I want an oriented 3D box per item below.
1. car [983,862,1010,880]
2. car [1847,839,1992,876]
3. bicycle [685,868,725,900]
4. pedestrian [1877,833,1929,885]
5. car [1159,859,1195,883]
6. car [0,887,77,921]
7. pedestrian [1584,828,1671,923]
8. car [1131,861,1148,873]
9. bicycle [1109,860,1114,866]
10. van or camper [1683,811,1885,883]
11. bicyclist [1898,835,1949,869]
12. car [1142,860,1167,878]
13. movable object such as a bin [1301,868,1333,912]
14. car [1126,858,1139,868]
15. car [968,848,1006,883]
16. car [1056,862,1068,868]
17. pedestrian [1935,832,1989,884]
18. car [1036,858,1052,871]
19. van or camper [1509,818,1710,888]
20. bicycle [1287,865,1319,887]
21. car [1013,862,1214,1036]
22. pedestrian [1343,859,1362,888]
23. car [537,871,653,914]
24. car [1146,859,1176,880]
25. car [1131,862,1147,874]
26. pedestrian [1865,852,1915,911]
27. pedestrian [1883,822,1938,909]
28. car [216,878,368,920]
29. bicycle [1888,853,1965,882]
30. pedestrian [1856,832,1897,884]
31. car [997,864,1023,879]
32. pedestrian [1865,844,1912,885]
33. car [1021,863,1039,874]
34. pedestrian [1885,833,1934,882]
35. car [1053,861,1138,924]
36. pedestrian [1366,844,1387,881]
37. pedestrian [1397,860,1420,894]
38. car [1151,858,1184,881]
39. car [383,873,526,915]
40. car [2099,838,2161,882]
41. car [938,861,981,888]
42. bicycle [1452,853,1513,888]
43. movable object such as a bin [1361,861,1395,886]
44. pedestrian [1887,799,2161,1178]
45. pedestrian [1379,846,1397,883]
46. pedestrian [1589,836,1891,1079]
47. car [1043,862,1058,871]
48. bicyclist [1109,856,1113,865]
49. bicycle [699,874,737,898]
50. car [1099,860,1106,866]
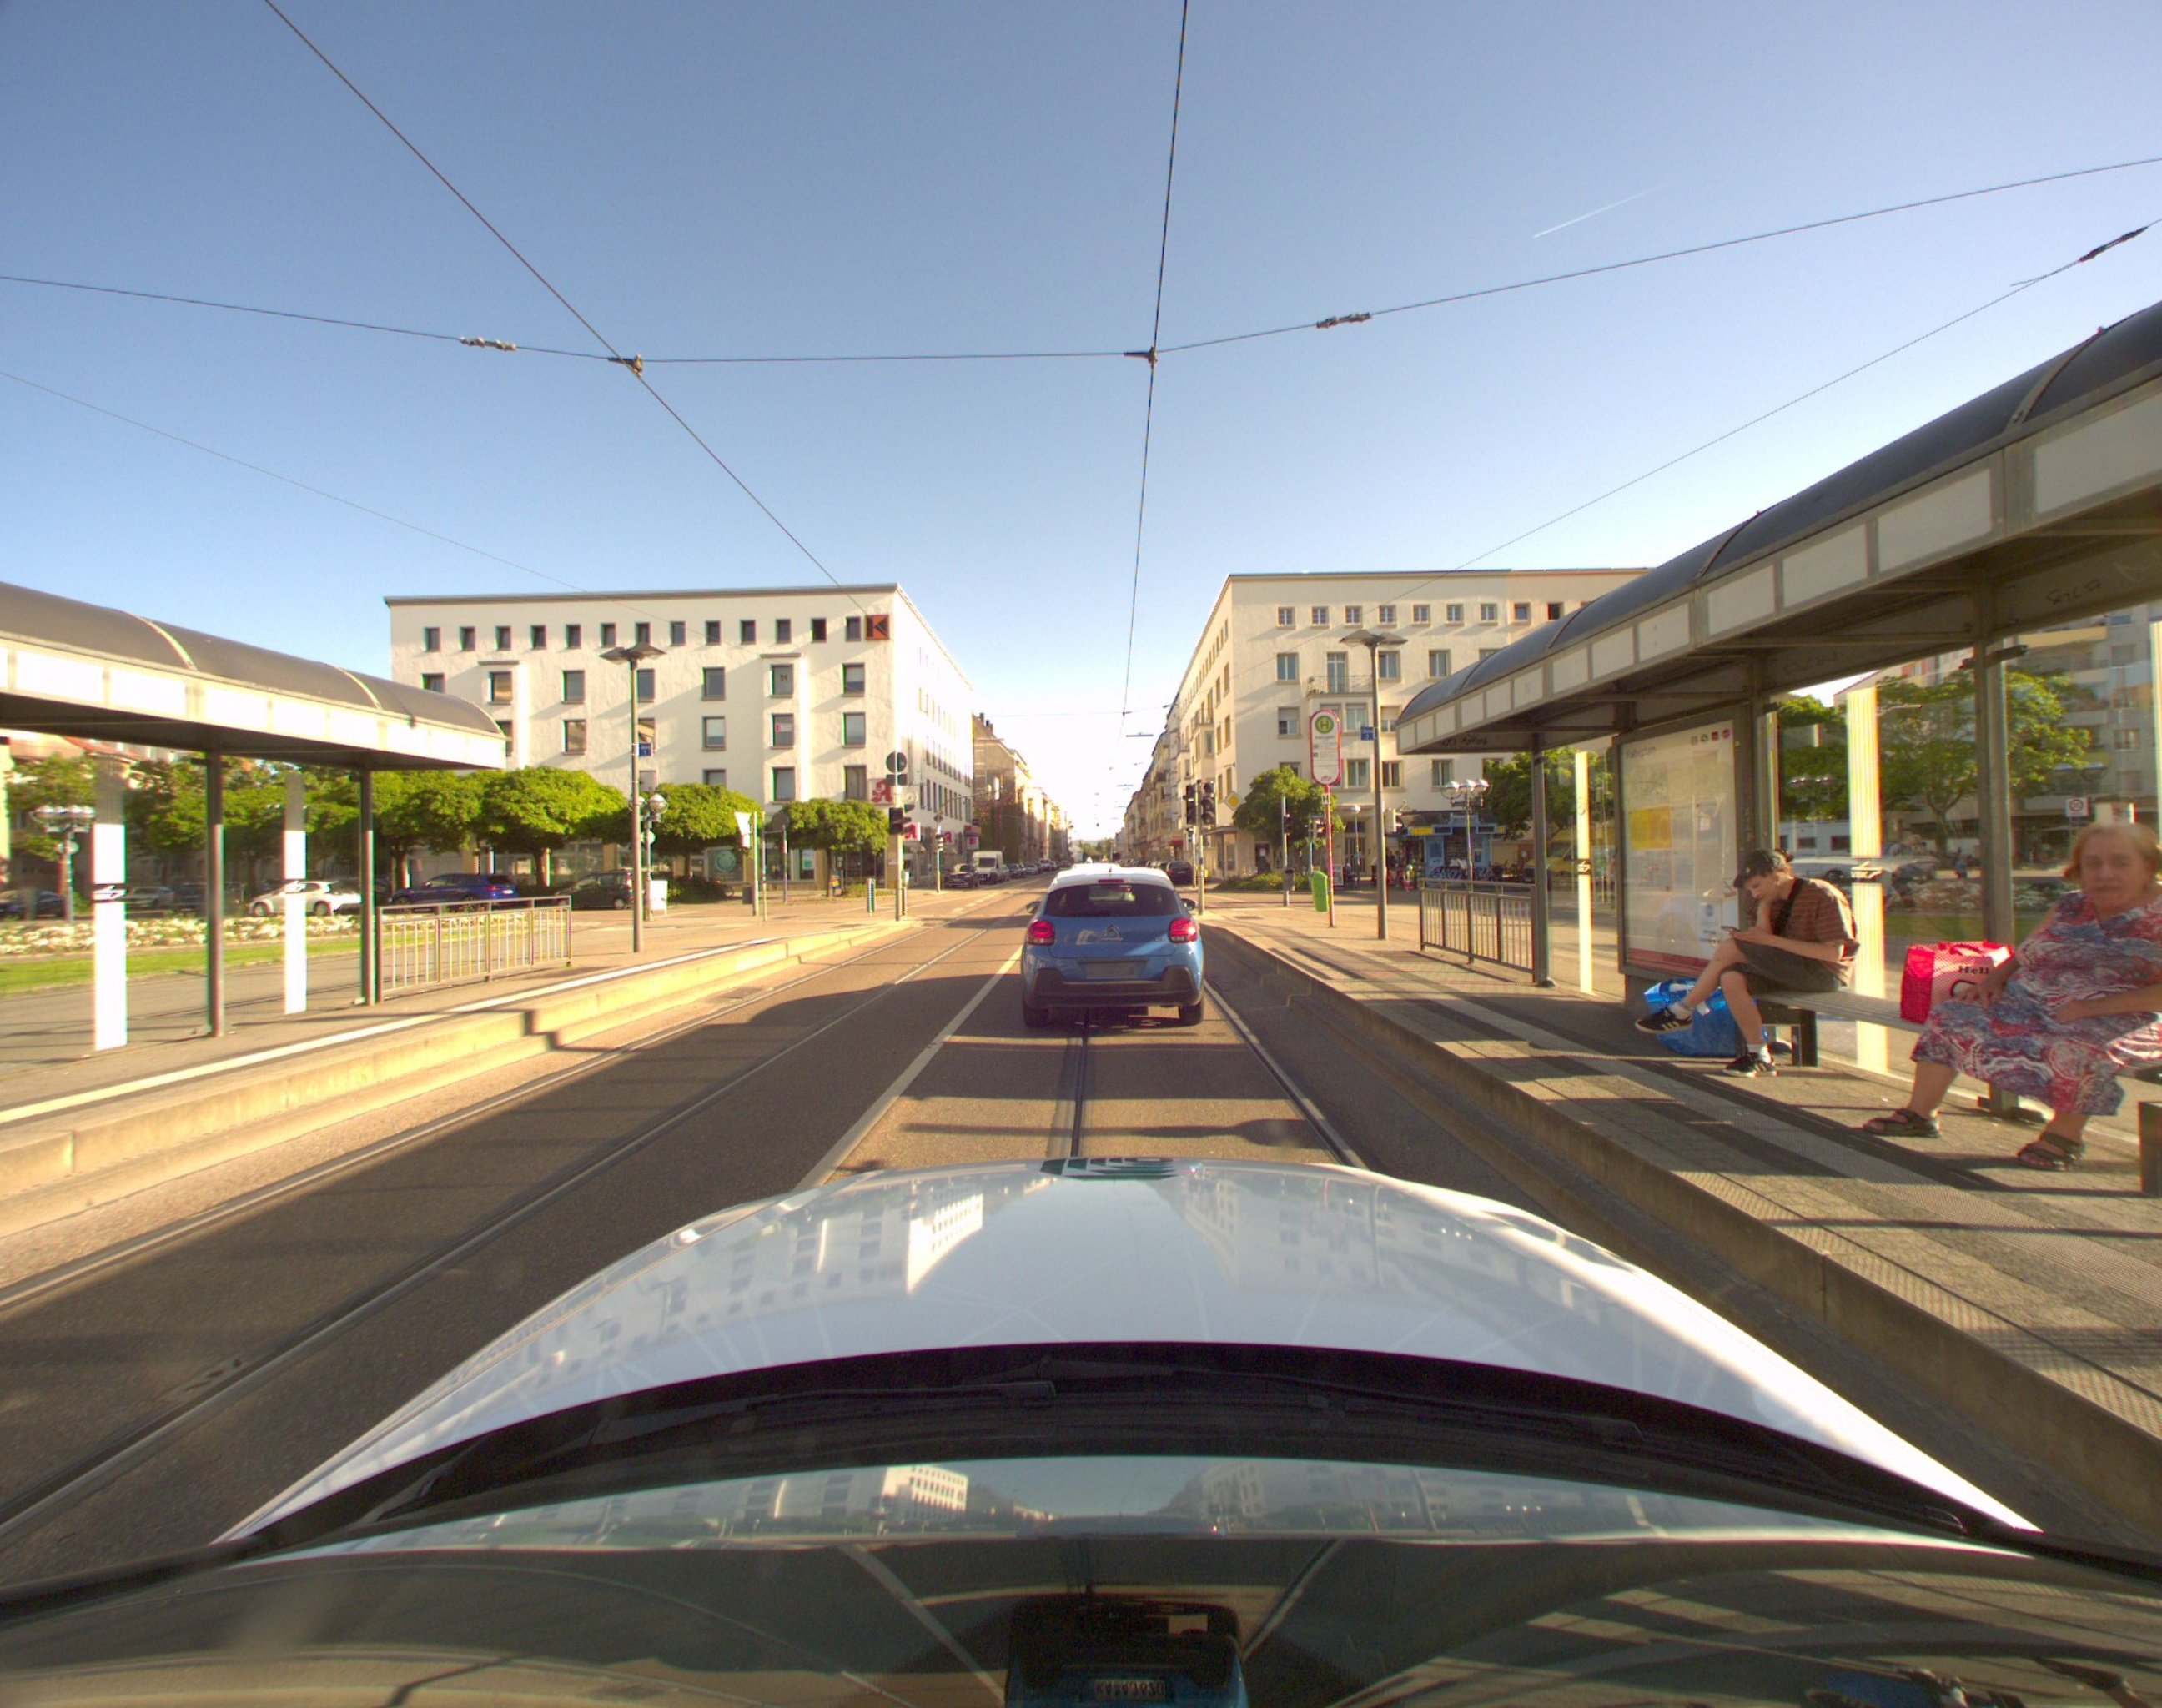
[{"bbox_3d":[-7.137,1.467,69.192,1.881,1.496,3.562,-1,-1,1],"label":"car"},{"bbox_3d":[36.634,0.178,35.719,3.959,1.512,2.007,-1,-1,13],"label":"car"},{"bbox_3d":[-19.858,1.552,43.067,0.614,1.607,2.624,-1,-1,6],"label":"bicycle"},{"bbox_3d":[25.858,0.153,25.618,0.897,1.585,0.663,-1,-1,5],"label":"pedestrian"},{"bbox_3d":[6.061,1.063,51.753,1.902,1.464,4.002,-2,-1,2],"label":"car"},{"bbox_3d":[-52.518,2.455,40.309,1.925,1.494,4.313,0,-1,-27],"label":"car"},{"bbox_3d":[11.331,0.448,16.942,0.978,1.878,1.128,-1,-2,-1],"label":"pedestrian"},{"bbox_3d":[7.224,1.602,101.412,1.986,1.464,4.507,-2,-1,2],"label":"car"},{"bbox_3d":[7.069,2.141,188.580,0.916,1.389,3.133,-2,-1,2],"label":"bicycle"},{"bbox_3d":[30.088,-0.297,35.043,6.375,2.839,2.381,-2,0,5],"label":"van or camper"},{"bbox_3d":[30.959,-0.057,29.938,0.930,1.225,0.951,0,0,-8],"label":"bicyclist"},{"bbox_3d":[6.543,1.340,72.512,1.986,1.464,4.002,-2,-1,2],"label":"car"},{"bbox_3d":[4.327,0.651,14.934,0.447,0.786,0.489,-1,-1,4],"label":"movable object such as a bin"},{"bbox_3d":[8.304,1.463,132.707,1.986,1.464,4.002,-2,-1,2],"label":"car"},{"bbox_3d":[-7.154,0.857,62.442,2.078,2.542,6.205,-1,-1,1],"label":"car"},{"bbox_3d":[-3.606,2.024,153.917,1.986,1.156,4.002,-2,-1,2],"label":"car"},{"bbox_3d":[27.803,0.121,25.711,0.897,1.585,0.663,-1,-1,5],"label":"pedestrian"},{"bbox_3d":[-5.757,1.594,126.431,1.997,2.014,4.693,-1,-1,4],"label":"car"},{"bbox_3d":[22.827,-0.052,35.411,7.093,2.747,2.372,-2,1,2],"label":"van or camper"},{"bbox_3d":[11.396,1.127,41.811,1.556,1.120,0.301,-1,-1,12],"label":"bicycle"},{"bbox_3d":[0.337,0.841,8.952,1.721,1.482,3.828,-1,-1,2],"label":"car"},{"bbox_3d":[12.731,0.902,38.152,0.733,1.316,0.631,-2,-1,25],"label":"pedestrian"},{"bbox_3d":[-21.271,1.665,35.749,3.973,1.706,1.826,-1,-1,1],"label":"car"},{"bbox_3d":[6.066,1.142,62.166,1.986,1.501,4.002,-2,-1,2],"label":"car"},{"bbox_3d":[7.523,1.777,105.602,1.986,1.464,4.002,-2,-1,2],"label":"car"},{"bbox_3d":[16.254,0.554,16.369,0.466,1.169,0.559,0,-2,10],"label":"pedestrian"},{"bbox_3d":[16.951,0.232,16.650,0.554,1.745,0.528,-1,-1,12],"label":"pedestrian"},{"bbox_3d":[-33.541,1.887,34.712,4.591,1.606,1.855,-1,-1,-1],"label":"car"},{"bbox_3d":[31.092,0.487,29.944,2.313,1.061,0.719,0,-1,-7],"label":"bicycle"},{"bbox_3d":[26.371,0.149,27.011,0.687,1.685,0.910,-2,-1,25],"label":"pedestrian"},{"bbox_3d":[-6.763,1.681,77.734,1.987,1.398,4.157,-1,-1,1],"label":"car"},{"bbox_3d":[26.145,0.331,26.378,0.897,1.279,0.605,-1,-1,4],"label":"pedestrian"},{"bbox_3d":[-6.414,1.806,102.895,1.987,1.325,3.923,-1,-1,1],"label":"car"},{"bbox_3d":[27.873,0.116,27.406,0.897,1.585,0.663,-1,-1,5],"label":"pedestrian"},{"bbox_3d":[0.408,0.918,21.416,1.977,1.464,4.817,-1,-1,2],"label":"car"},{"bbox_3d":[15.092,0.443,41.626,0.781,1.839,0.679,-2,-1,5],"label":"pedestrian"},{"bbox_3d":[14.205,0.987,35.330,0.727,1.409,0.755,-1,2,1],"label":"pedestrian"},{"bbox_3d":[5.995,1.075,56.941,1.986,1.464,4.002,-2,-1,2],"label":"car"},{"bbox_3d":[-27.213,1.708,35.491,4.591,1.662,1.999,-1,-1,-1],"label":"car"},{"bbox_3d":[38.514,0.151,28.376,3.983,1.486,1.995,-1,-1,-7],"label":"car"},{"bbox_3d":[-7.681,1.307,52.079,1.987,1.569,4.403,1,-1,1],"label":"car"},{"bbox_3d":[17.689,0.724,35.904,2.376,1.531,0.726,0,-1,0],"label":"bicycle"},{"bbox_3d":[14.356,0.931,39.376,1.194,1.153,1.218,-1,-1,2],"label":"movable object such as a bin"},{"bbox_3d":[3.913,0.488,3.210,0.855,1.334,0.623,2,-1,1],"label":"pedestrian"},{"bbox_3d":[15.273,0.526,40.533,0.650,1.839,0.660,-1,-1,5],"label":"pedestrian"},{"bbox_3d":[3.690,0.539,4.666,0.995,1.225,0.923,1,-1,2],"label":"pedestrian"},{"bbox_3d":[-5.104,2.121,136.713,1.946,1.552,3.942,-1,-1,4],"label":"car"},{"bbox_3d":[6.917,1.563,188.422,0.807,2.014,0.922,-1,-1,0],"label":"bicyclist"},{"bbox_3d":[-19.134,1.687,43.024,0.615,1.190,2.624,-1,-1,5],"label":"bicycle"},{"bbox_3d":[6.284,2.756,241.721,1.986,1.772,4.001,-2,-1,2],"label":"car"}]
